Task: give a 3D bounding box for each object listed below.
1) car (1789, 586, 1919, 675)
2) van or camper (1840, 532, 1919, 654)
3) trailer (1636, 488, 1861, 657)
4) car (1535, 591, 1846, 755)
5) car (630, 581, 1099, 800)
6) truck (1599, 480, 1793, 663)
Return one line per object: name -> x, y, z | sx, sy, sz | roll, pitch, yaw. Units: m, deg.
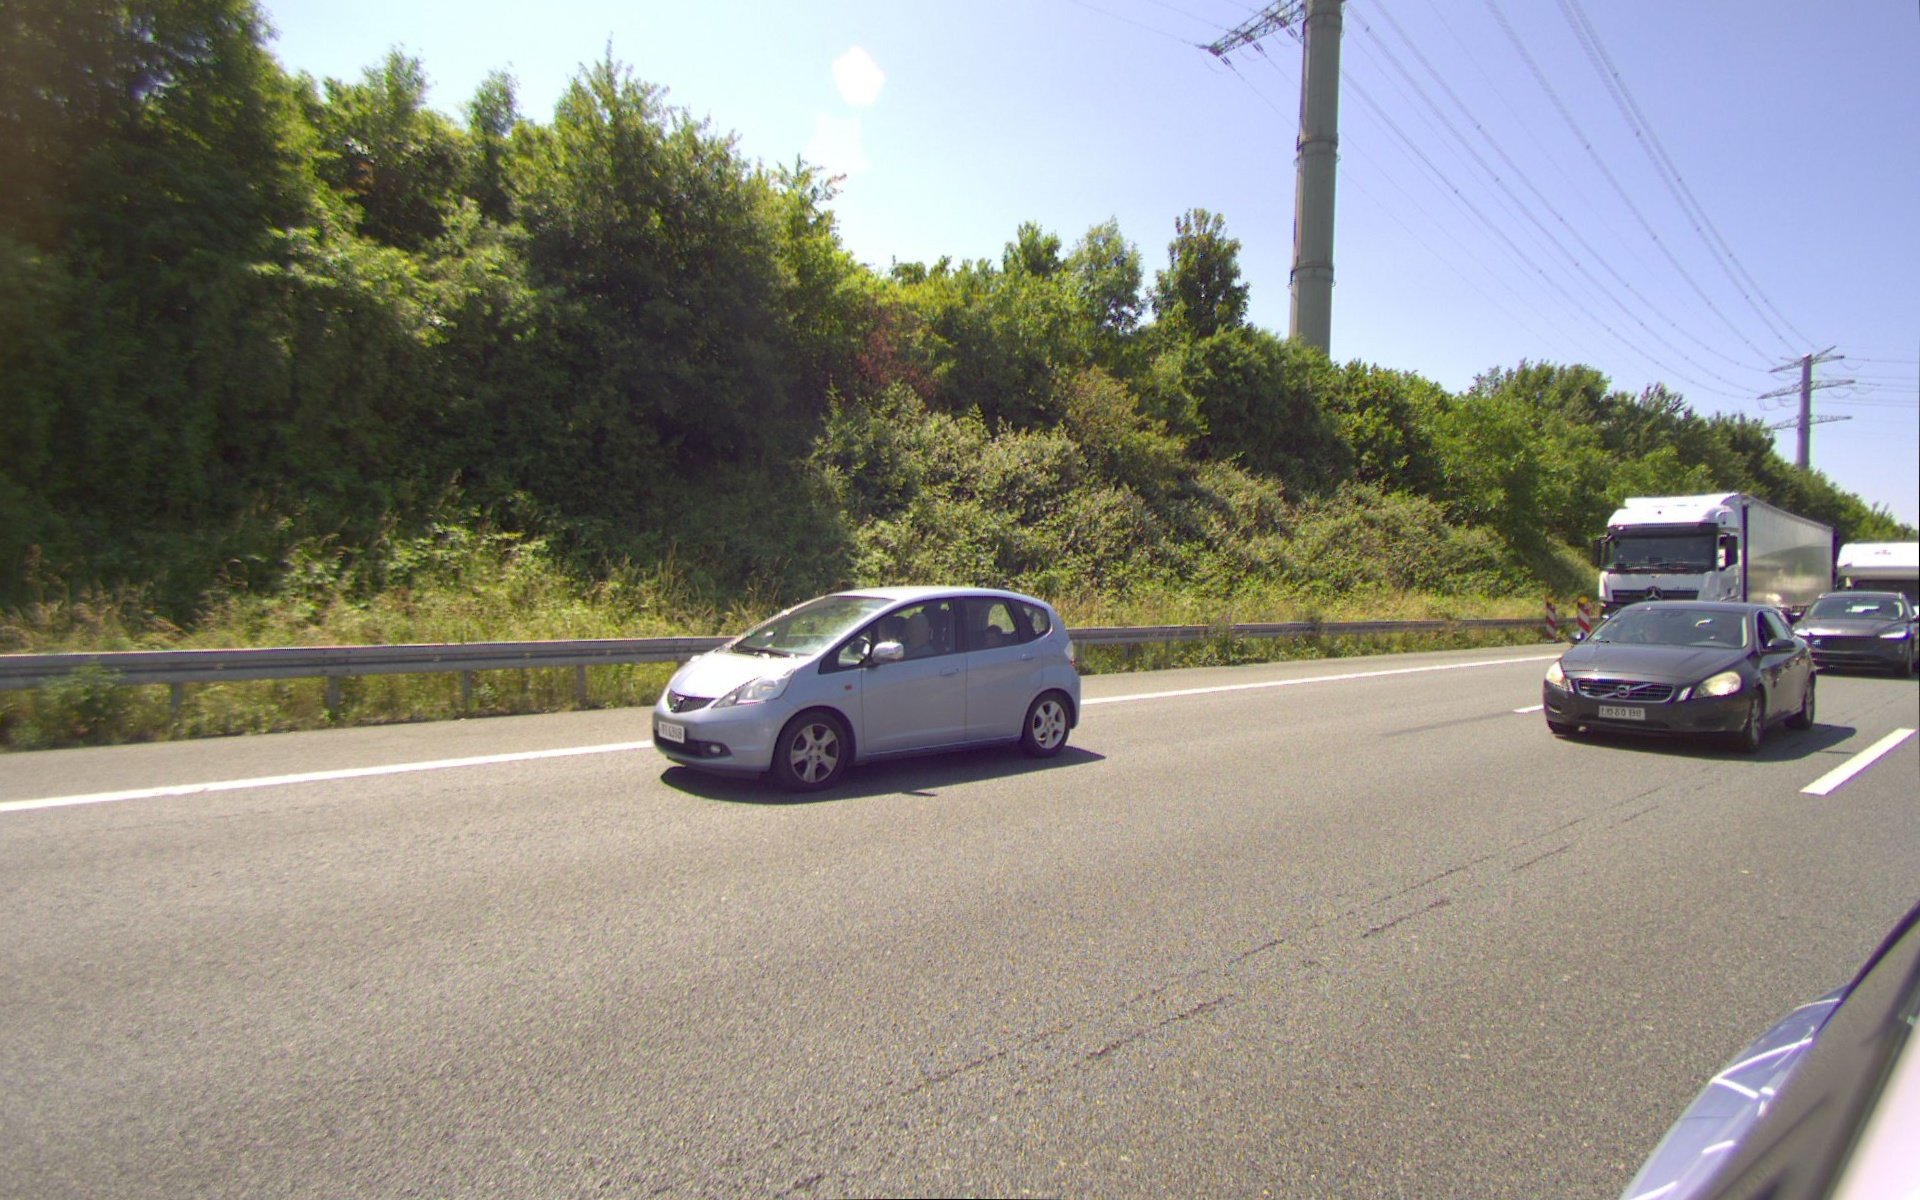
car -> 18.508, 0.542, 20.569 | 4.146, 1.631, 1.892 | -1, 0, -41
van or camper -> 26.798, -0.205, 28.203 | 7.499, 3.082, 2.373 | -1, 0, -41
trailer -> 23.636, -0.734, 29.876 | 12.882, 4.098, 2.788 | -1, 0, -41
car -> 8.125, 0.630, 11.097 | 4.431, 1.437, 1.798 | -1, 0, -41
car -> -0.686, 0.586, 8.656 | 3.721, 1.466, 1.704 | -1, 0, -41
truck -> 18.686, -0.672, 25.596 | 5.692, 4.098, 2.738 | -1, 0, -41
